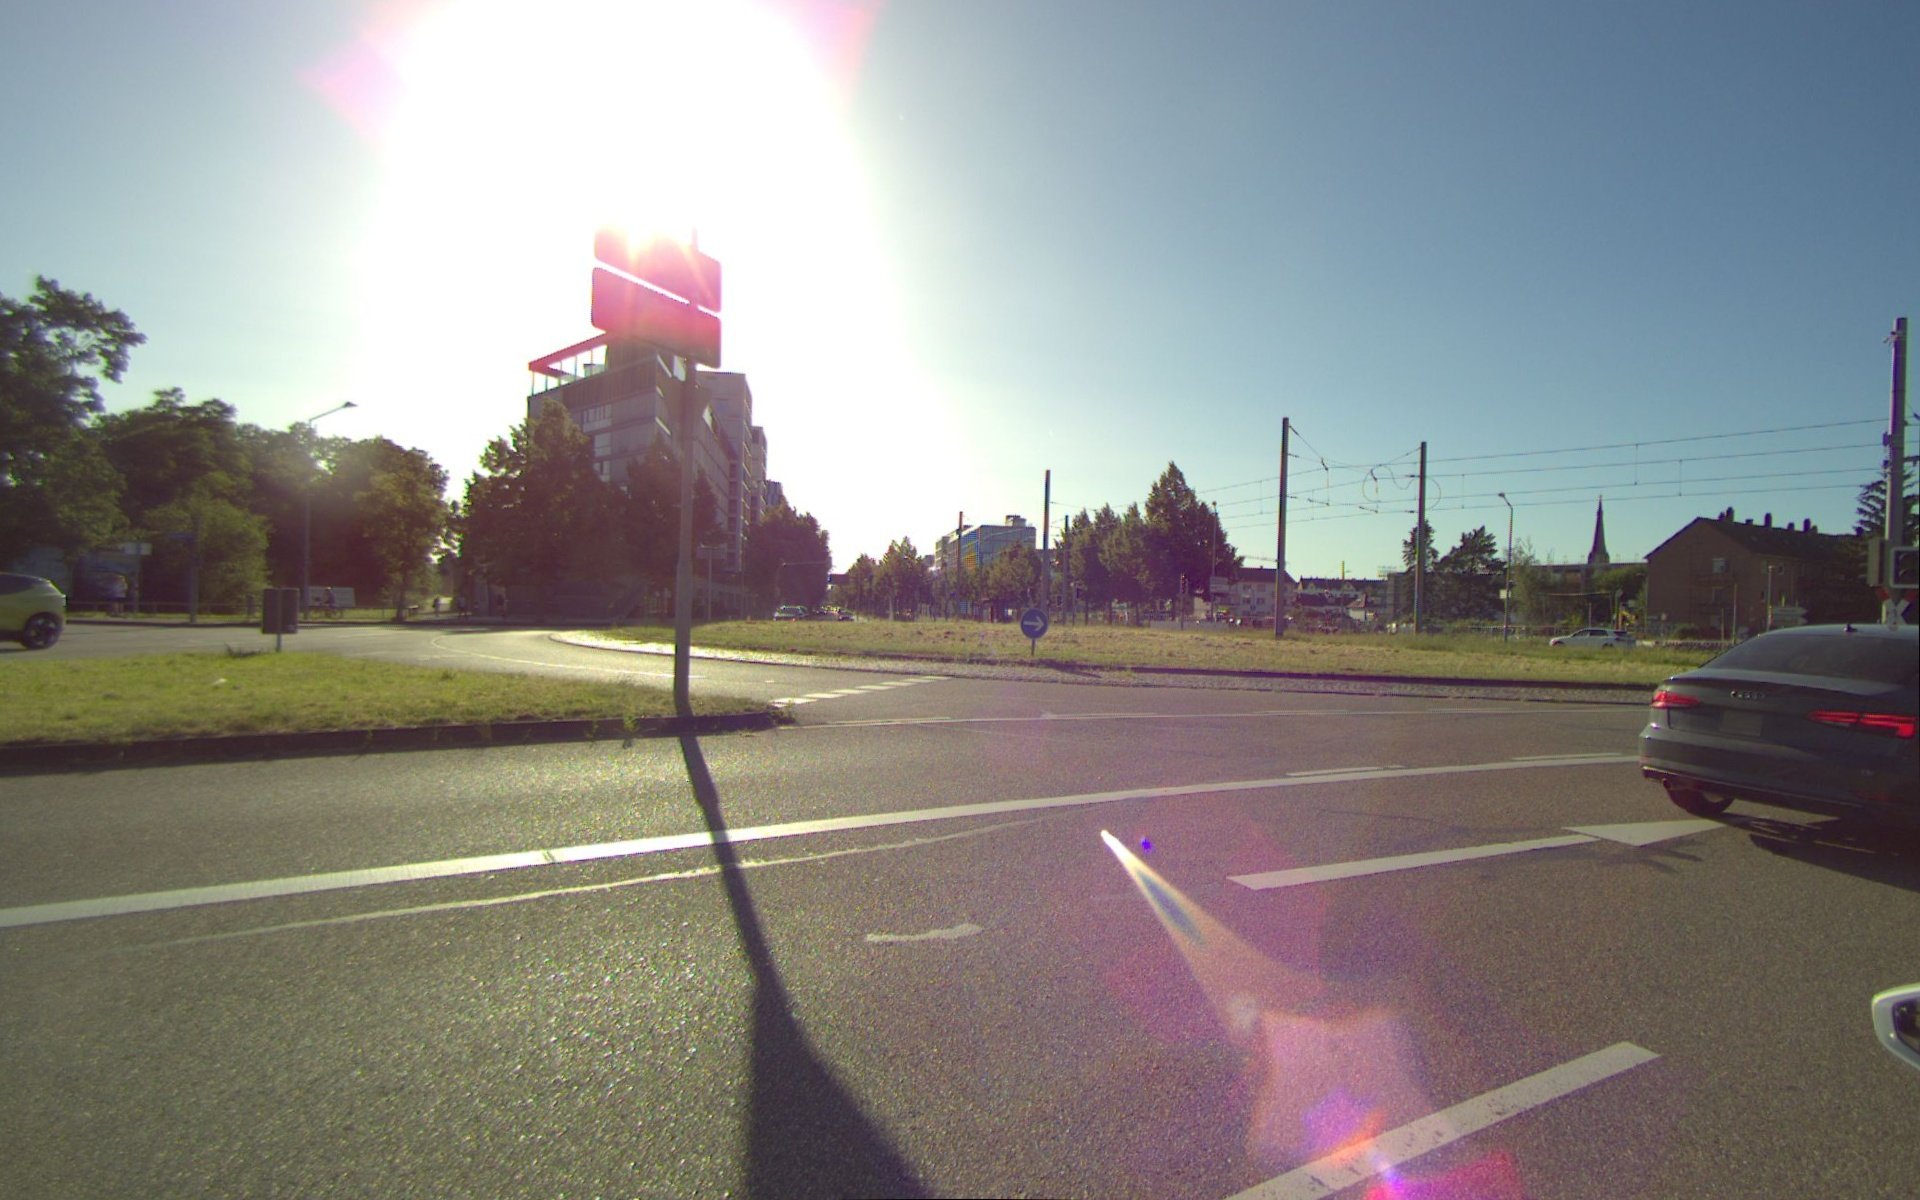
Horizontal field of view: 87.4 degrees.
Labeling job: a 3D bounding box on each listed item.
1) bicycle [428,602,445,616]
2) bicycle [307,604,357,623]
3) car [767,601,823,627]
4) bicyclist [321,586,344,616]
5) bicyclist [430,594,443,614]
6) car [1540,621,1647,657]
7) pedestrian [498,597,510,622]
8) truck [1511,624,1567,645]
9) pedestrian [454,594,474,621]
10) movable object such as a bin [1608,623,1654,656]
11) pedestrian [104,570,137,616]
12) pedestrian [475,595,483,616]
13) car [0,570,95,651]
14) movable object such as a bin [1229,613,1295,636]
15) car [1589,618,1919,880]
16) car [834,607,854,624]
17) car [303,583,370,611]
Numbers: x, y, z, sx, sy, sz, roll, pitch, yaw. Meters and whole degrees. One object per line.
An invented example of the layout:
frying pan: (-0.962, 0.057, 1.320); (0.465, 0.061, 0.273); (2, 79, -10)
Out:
bicycle: (-39.617, 0.721, 75.981); (0.576, 1.025, 1.867); (2, -1, -10)
bicycle: (-34.550, 0.741, 55.257); (0.651, 1.001, 2.257); (2, -1, 31)
car: (-12.179, 1.025, 74.541); (2.412, 1.808, 5.017); (2, 0, 12)
bicyclist: (-34.506, 0.075, 55.279); (0.651, 1.601, 0.833); (2, 0, 32)
bicyclist: (-39.593, 0.313, 75.994); (0.576, 1.487, 0.755); (2, -1, -10)
car: (33.186, 2.036, 52.781); (1.973, 1.661, 4.379); (2, 0, -25)
pedestrian: (-30.651, 0.640, 67.456); (0.670, 1.705, 0.883); (1, 0, -26)
truck: (64.905, 3.851, 112.727); (2.130, 2.040, 6.431); (4, -1, -5)
pedestrian: (-30.849, 0.475, 62.449); (0.870, 1.651, 0.759); (2, 0, 35)
movable object such as a bin: (62.147, 3.658, 93.068); (2.379, 2.810, 4.001); (4, 0, 18)
pedestrian: (-37.650, -0.314, 45.061); (0.577, 2.032, 0.944); (2, 0, 16)
pedestrian: (-38.322, 0.448, 80.006); (0.496, 1.711, 0.552); (2, 0, -18)
car: (-19.438, 0.176, 19.132); (1.969, 1.561, 4.327); (2, 0, 4)
movable object such as a bin: (40.245, 3.251, 133.844); (7.783, 2.819, 2.941); (2, 0, -5)
car: (6.813, 0.882, 7.057); (4.291, 1.398, 1.758); (1, 0, -19)
car: (-13.038, 1.751, 112.773); (1.744, 1.809, 3.908); (2, 0, -13)
car: (-45.054, -0.204, 72.654); (1.809, 1.830, 3.730); (2, 0, 37)
